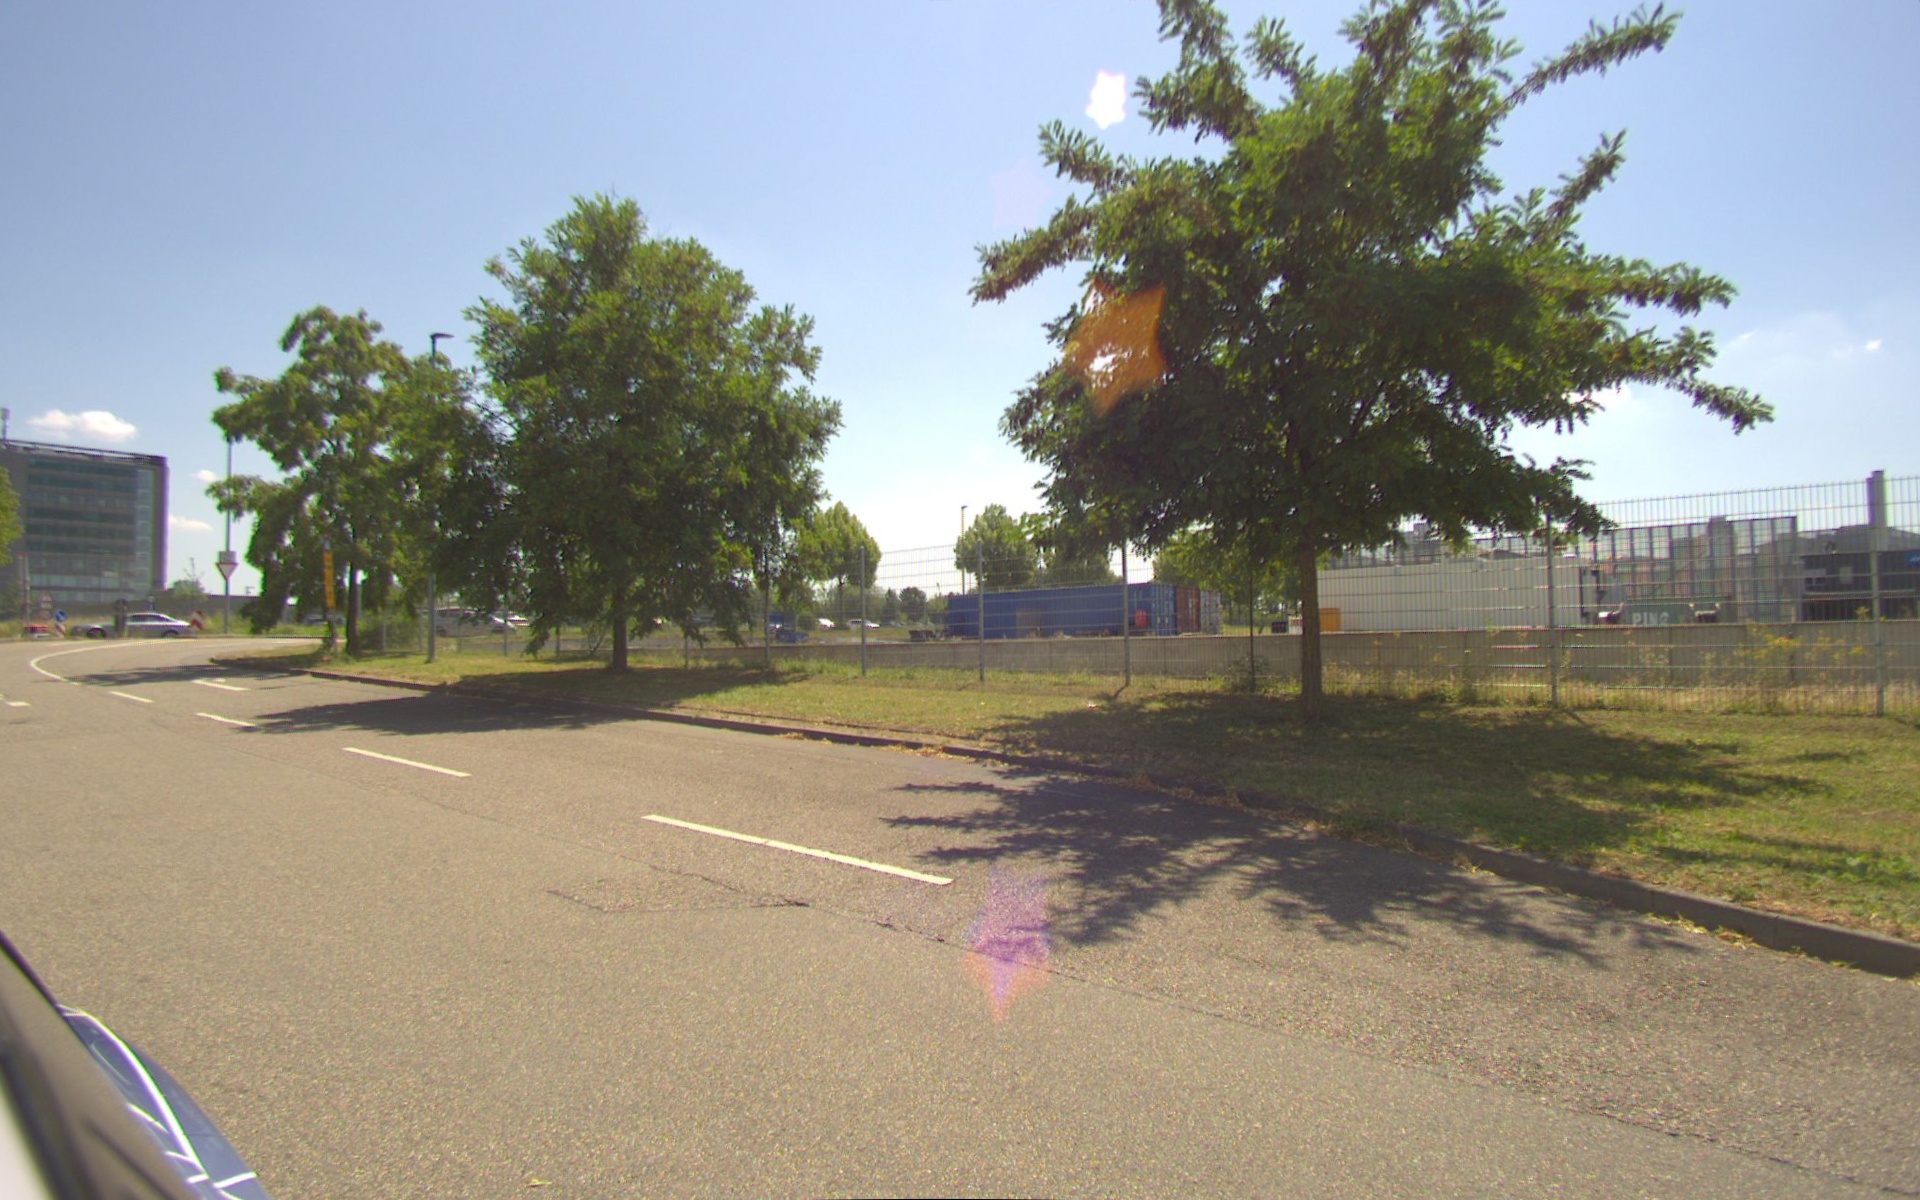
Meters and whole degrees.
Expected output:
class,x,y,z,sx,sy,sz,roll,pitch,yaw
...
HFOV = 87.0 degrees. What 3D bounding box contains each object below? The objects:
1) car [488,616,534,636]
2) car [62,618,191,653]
class,x,y,z,sx,sy,sz,roll,pitch,yaw
car,-29.708,1.703,66.975,3.267,1.191,1.482,-4,-2,39
car,-38.301,1.614,46.583,1.674,1.385,4.433,-8,-5,43
